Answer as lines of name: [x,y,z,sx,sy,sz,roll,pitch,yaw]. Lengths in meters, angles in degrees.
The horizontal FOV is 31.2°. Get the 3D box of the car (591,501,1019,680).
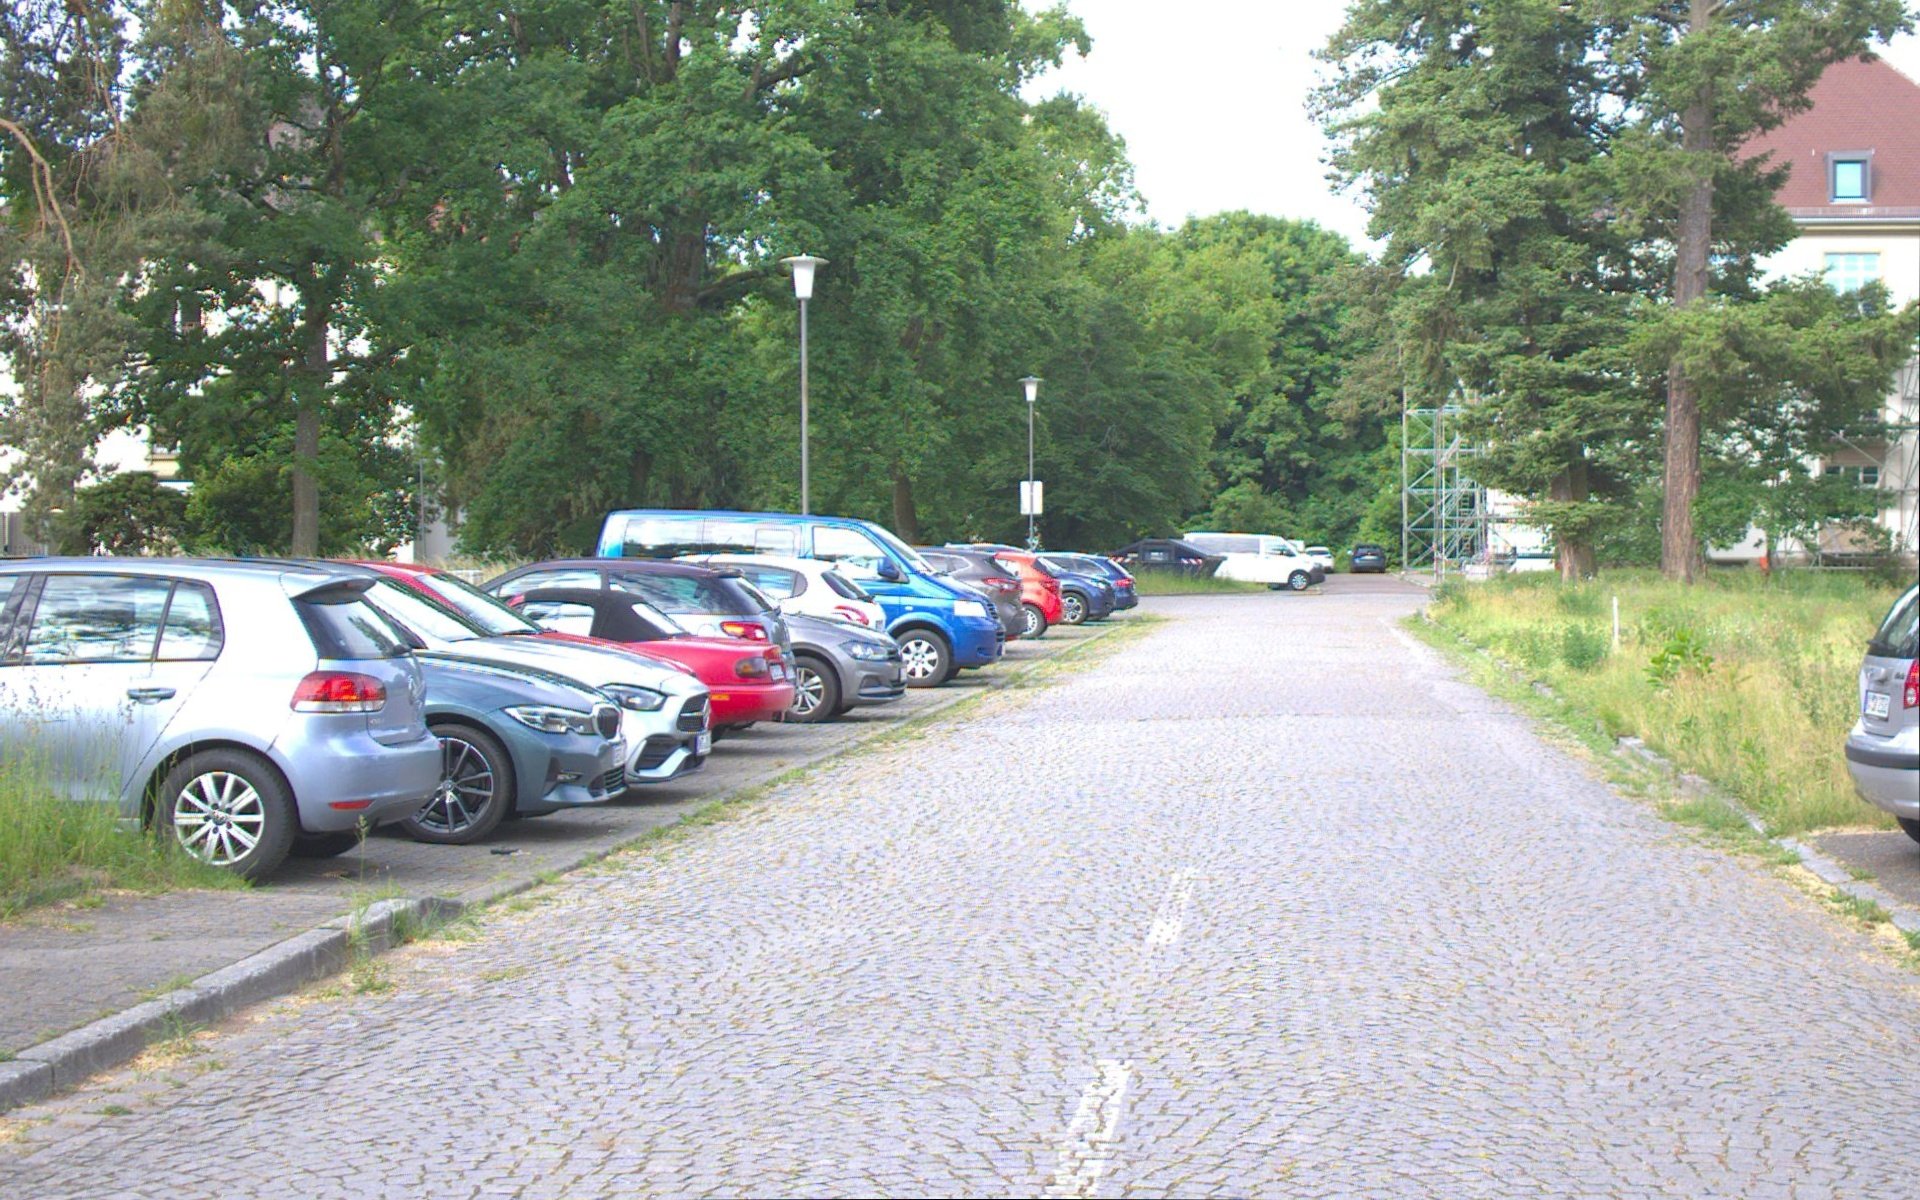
car: [-1.754,-0.138,39.943,4.710,1.974,2.038,1,1,5]

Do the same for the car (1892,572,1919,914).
car: [6.054,0.521,13.393,4.366,1.401,1.796,-3,2,5]

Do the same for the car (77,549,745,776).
car: [-3.762,0.397,23.963,4.255,1.450,1.855,1,1,6]

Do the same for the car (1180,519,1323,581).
car: [10.361,-1.771,122.193,4.979,2.065,2.051,1,0,5]

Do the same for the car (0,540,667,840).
car: [-3.988,0.454,18.965,4.501,1.532,1.870,1,0,3]

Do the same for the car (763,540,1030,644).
car: [-0.926,-0.136,51.579,3.816,1.481,1.761,1,1,6]

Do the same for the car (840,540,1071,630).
car: [-0.048,-0.271,59.054,3.816,1.484,1.787,1,1,5]

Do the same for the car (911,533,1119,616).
car: [1.137,-0.524,69.231,4.072,1.598,1.787,1,1,5]

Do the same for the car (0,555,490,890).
car: [-4.595,0.518,16.389,4.330,1.465,1.826,1,0,7]

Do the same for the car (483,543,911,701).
car: [-2.613,0.196,34.711,4.006,1.496,1.842,1,1,8]

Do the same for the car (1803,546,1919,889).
car: [6.054,0.440,16.109,3.772,1.474,1.743,-3,2,3]

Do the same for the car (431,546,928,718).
car: [-2.556,0.266,31.824,4.306,1.475,1.730,1,1,8]

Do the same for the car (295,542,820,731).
car: [-3.351,0.278,29.010,4.089,1.475,1.755,1,1,7]

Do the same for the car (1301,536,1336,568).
car: [19.574,-2.608,187.607,1.790,1.630,4.060,0,0,4]

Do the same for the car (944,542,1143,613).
car: [1.805,-0.500,73.883,4.073,1.462,1.625,1,1,10]

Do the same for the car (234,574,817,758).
car: [-3.272,0.473,26.308,4.132,1.279,1.763,1,1,6]

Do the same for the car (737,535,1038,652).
car: [-0.996,-0.111,48.784,4.068,1.570,1.954,1,1,5]

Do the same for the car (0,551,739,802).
car: [-3.757,0.441,21.641,4.438,1.450,1.949,1,0,7]

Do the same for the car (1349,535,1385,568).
car: [22.216,-2.649,187.642,1.790,1.714,4.060,0,0,4]
